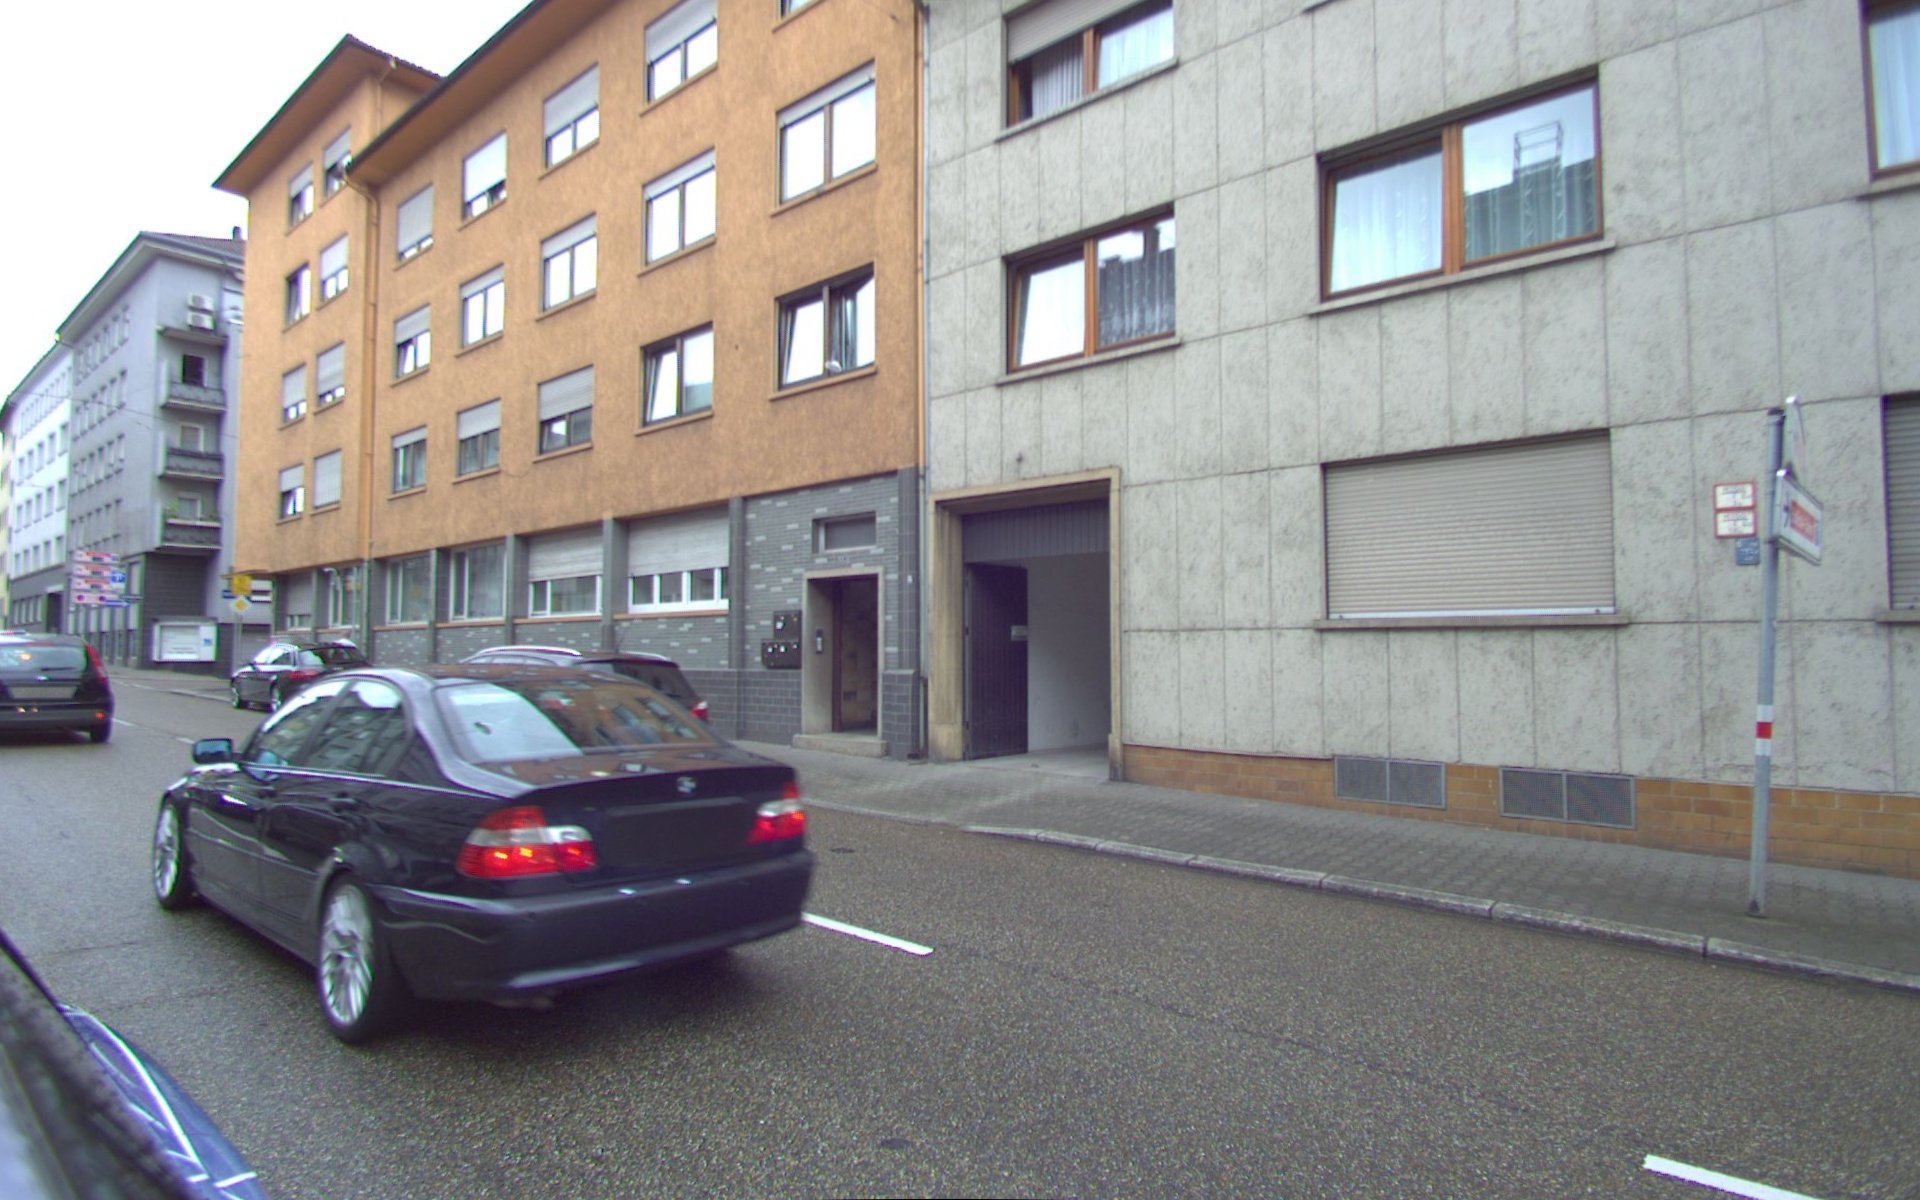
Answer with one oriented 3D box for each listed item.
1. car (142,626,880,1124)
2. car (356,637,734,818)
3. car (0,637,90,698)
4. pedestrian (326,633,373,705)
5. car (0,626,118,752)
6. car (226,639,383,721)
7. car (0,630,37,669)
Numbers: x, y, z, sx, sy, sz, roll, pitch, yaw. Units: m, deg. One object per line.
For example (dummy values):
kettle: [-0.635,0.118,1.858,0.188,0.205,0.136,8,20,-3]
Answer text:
car: [-2.484,0.890,4.992,4.216,1.381,1.677,0,-4,42]
car: [-4.407,1.160,10.432,4.370,1.484,1.705,-2,-5,40]
car: [-27.131,1.932,29.645,4.433,1.551,1.677,-1,-7,40]
pedestrian: [-14.768,1.642,24.490,0.757,1.652,1.024,-1,0,-44]
car: [-13.395,1.149,14.178,4.213,1.551,1.602,-1,-4,39]
car: [-14.266,1.655,21.946,4.216,1.485,1.776,-1,0,41]
car: [-46.494,2.391,49.280,4.216,1.735,1.832,-1,0,41]
